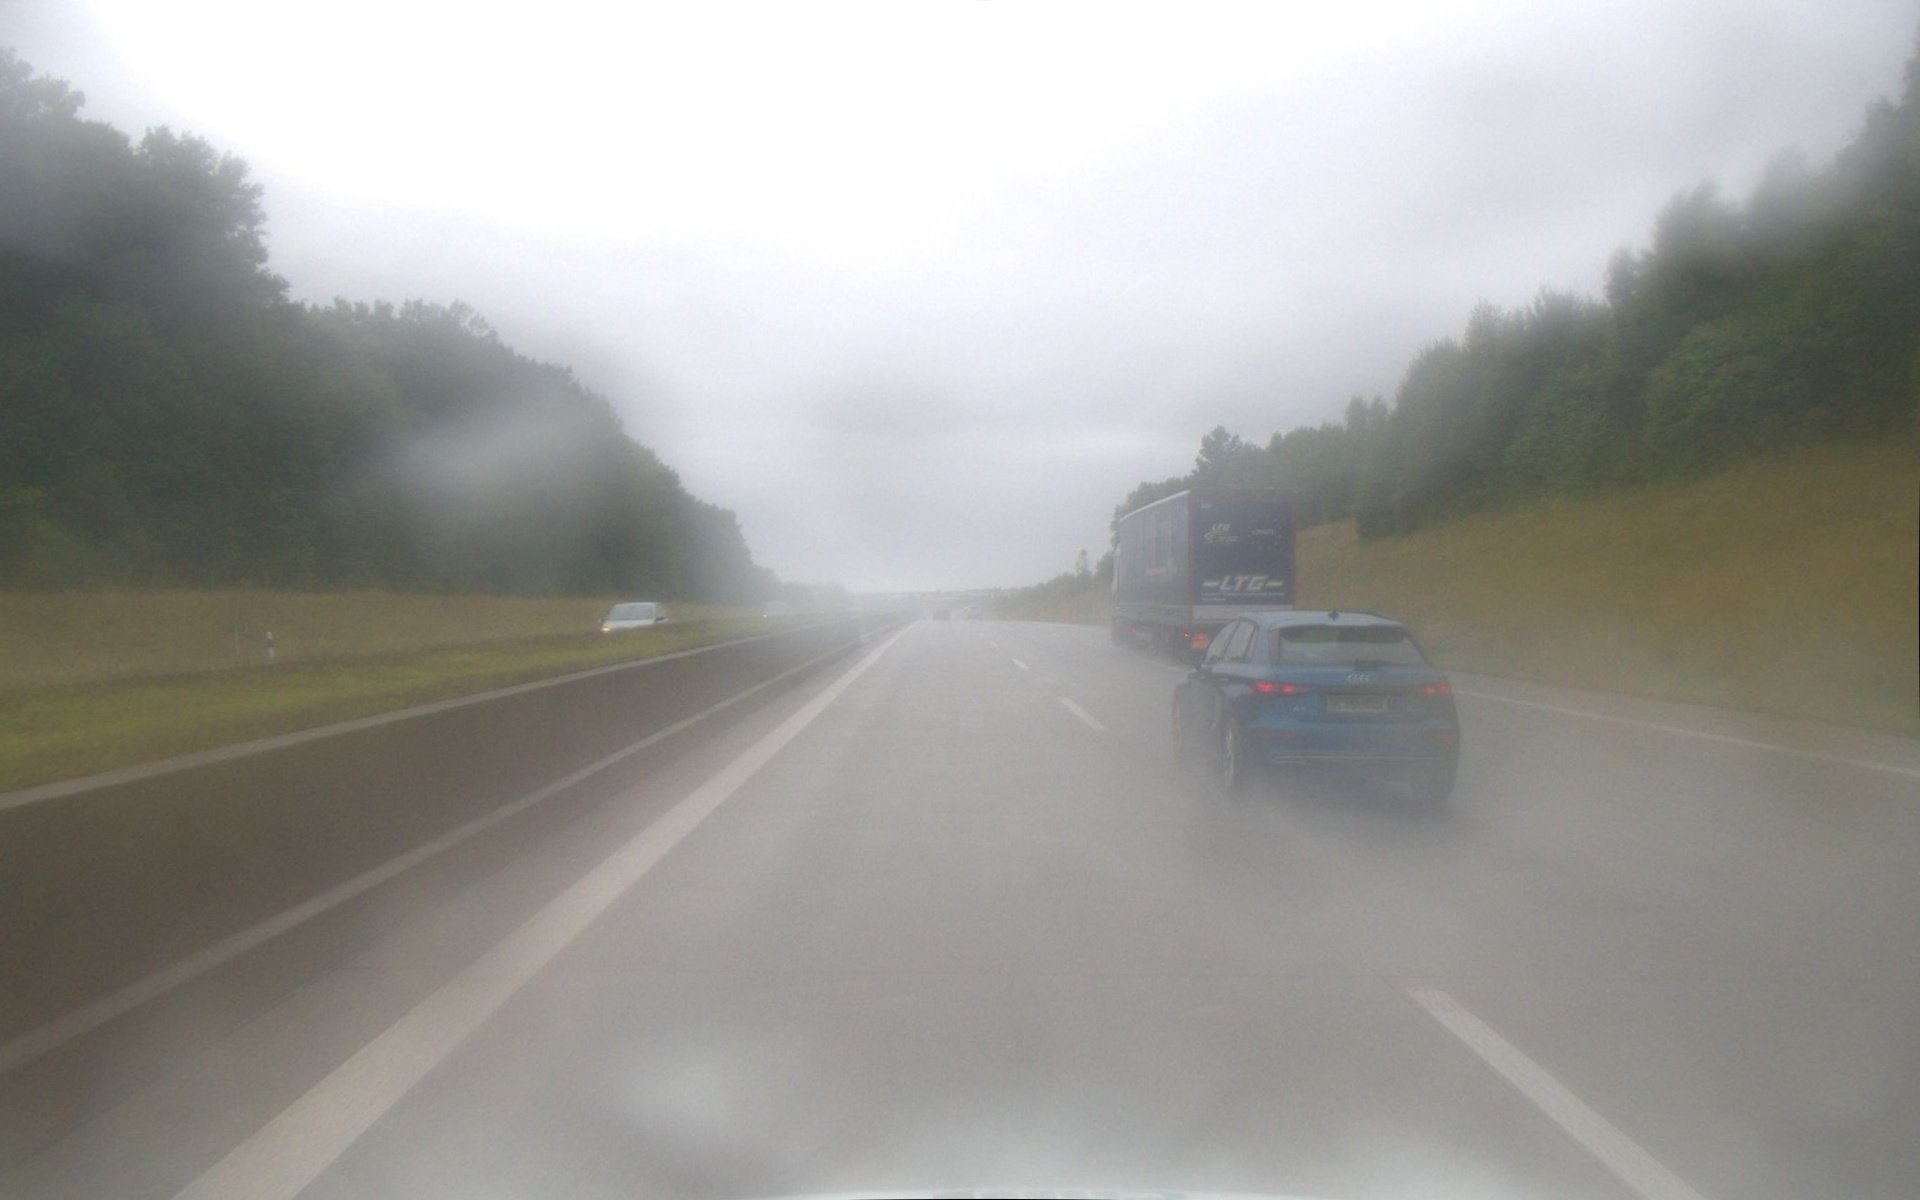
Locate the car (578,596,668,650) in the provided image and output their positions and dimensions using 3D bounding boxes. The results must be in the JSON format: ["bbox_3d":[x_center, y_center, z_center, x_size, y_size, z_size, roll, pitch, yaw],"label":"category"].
[{"bbox_3d":[-9.209,0.602,45.483,1.703,1.357,4.098,-1,0,-1],"label":"car"}]

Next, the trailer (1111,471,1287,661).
[{"bbox_3d":[6.344,-0.755,46.646,2.651,4.456,15.202,1,0,0],"label":"trailer"}]

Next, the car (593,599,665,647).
[{"bbox_3d":[-12.672,0.851,63.622,1.841,1.694,4.686,-2,0,-1],"label":"car"}]

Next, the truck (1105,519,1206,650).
[{"bbox_3d":[6.290,-0.456,53.988,2.582,4.023,5.685,1,0,0],"label":"truck"}]

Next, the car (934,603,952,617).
[{"bbox_3d":[-1.710,1.010,164.597,1.694,1.354,4.429,0,0,-1],"label":"car"}]

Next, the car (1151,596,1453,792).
[{"bbox_3d":[2.903,0.766,15.050,1.694,1.484,4.671,-1,-1,-1],"label":"car"}]
